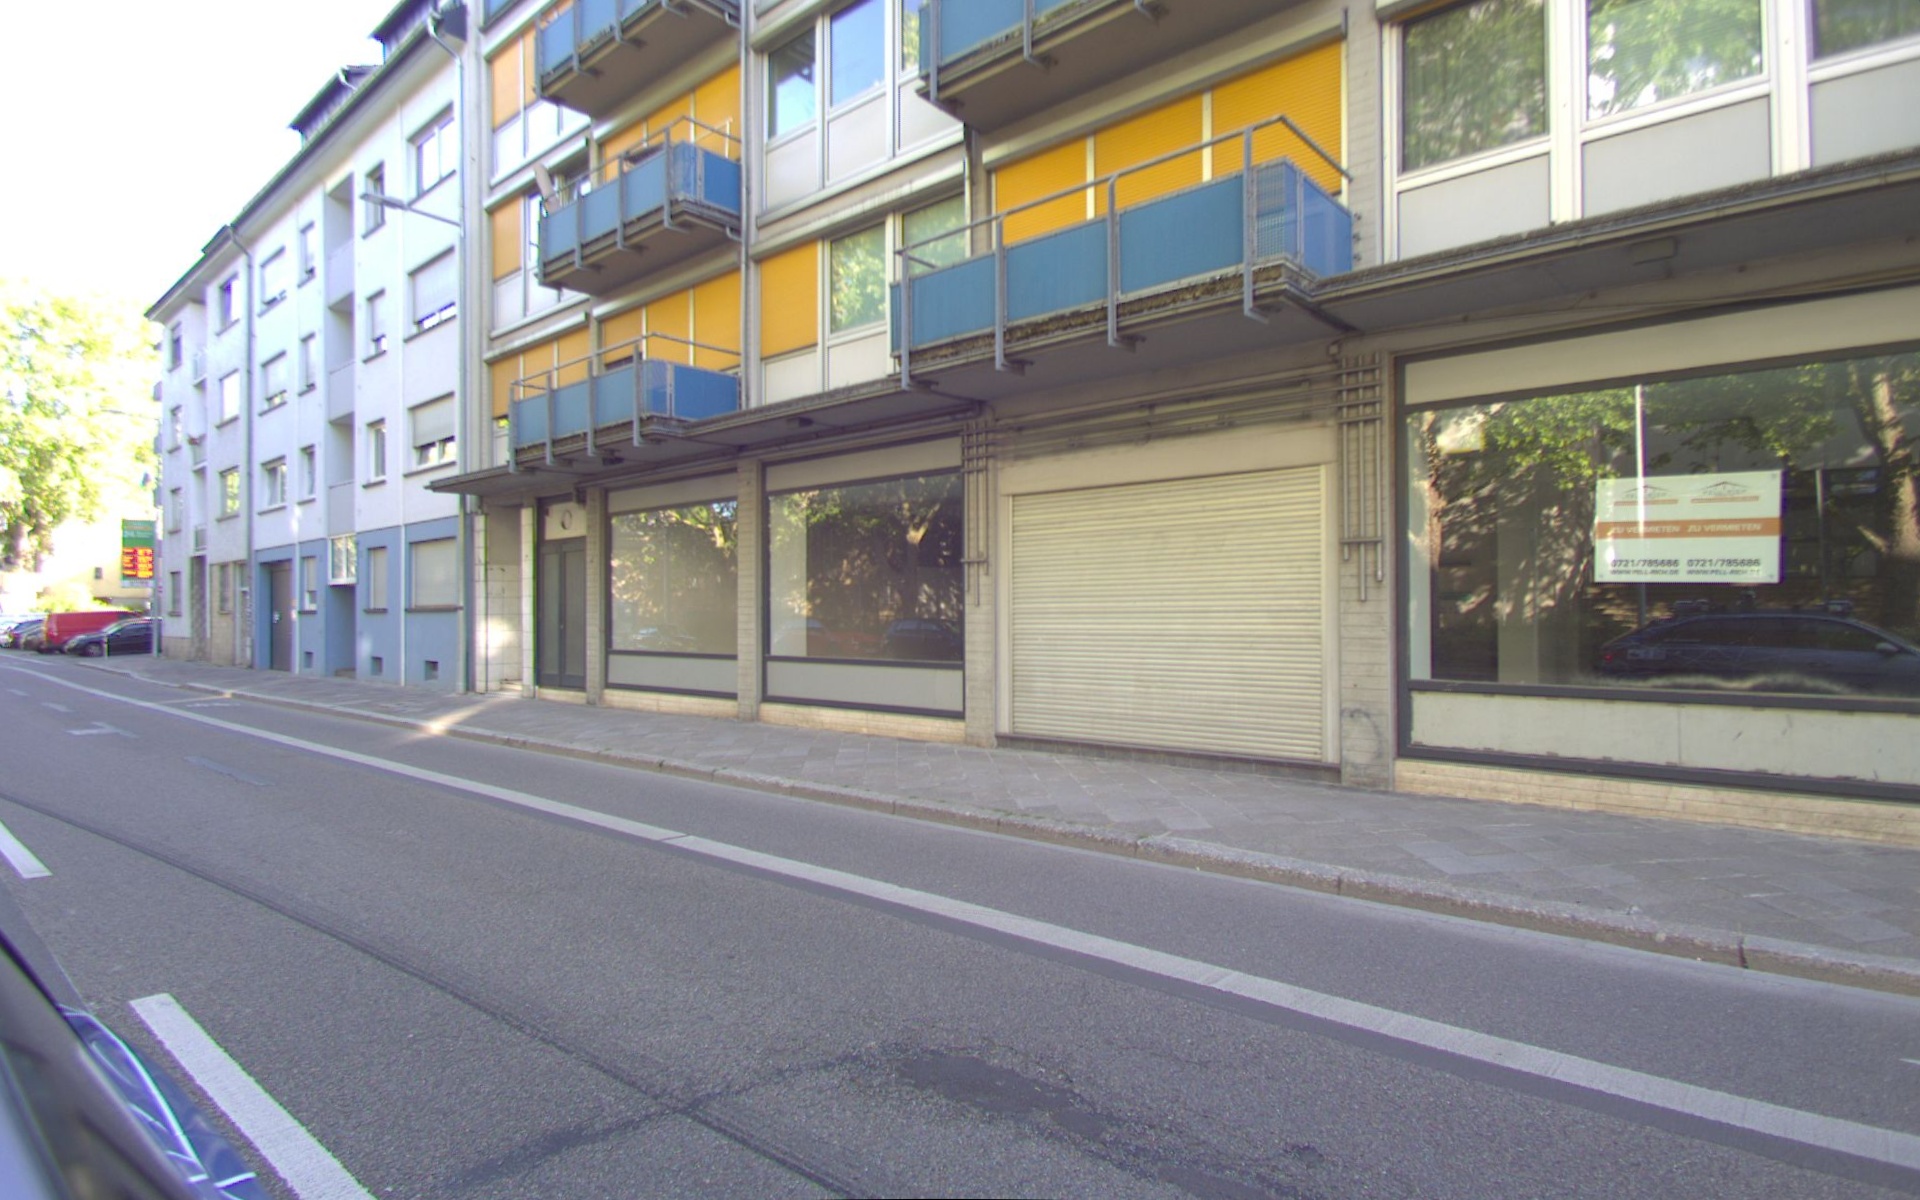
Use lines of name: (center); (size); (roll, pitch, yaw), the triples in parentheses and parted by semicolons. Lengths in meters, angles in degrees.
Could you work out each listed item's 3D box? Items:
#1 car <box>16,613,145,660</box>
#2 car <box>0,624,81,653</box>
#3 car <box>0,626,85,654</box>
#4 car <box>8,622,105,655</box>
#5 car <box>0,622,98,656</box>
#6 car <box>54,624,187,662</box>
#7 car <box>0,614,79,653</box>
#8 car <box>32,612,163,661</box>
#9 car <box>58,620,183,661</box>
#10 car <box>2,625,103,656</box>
car: (-42.764, 1.727, 49.270); (2.056, 1.966, 4.475); (-2, 1, 41)
car: (-56.022, 2.346, 61.321); (1.852, 1.571, 3.945); (-2, 0, 41)
car: (-54.403, 2.359, 59.760); (1.852, 1.444, 3.945); (-2, 0, 41)
car: (-48.553, 2.028, 54.424); (1.830, 1.524, 3.647); (-1, 1, 41)
car: (-52.435, 2.210, 58.189); (2.027, 1.696, 4.150); (-1, 0, 41)
car: (-36.604, 1.836, 44.193); (2.045, 1.390, 4.184); (-1, 1, 41)
car: (-59.411, 2.130, 64.384); (2.139, 2.233, 4.794); (-2, 1, 41)
car: (-40.555, 1.665, 47.655); (2.145, 1.966, 4.375); (-2, 1, 41)
car: (-38.093, 1.796, 45.994); (1.886, 1.575, 4.129); (-1, 1, 41)
car: (-50.178, 2.219, 56.004); (1.915, 1.466, 3.945); (-2, 0, 41)
